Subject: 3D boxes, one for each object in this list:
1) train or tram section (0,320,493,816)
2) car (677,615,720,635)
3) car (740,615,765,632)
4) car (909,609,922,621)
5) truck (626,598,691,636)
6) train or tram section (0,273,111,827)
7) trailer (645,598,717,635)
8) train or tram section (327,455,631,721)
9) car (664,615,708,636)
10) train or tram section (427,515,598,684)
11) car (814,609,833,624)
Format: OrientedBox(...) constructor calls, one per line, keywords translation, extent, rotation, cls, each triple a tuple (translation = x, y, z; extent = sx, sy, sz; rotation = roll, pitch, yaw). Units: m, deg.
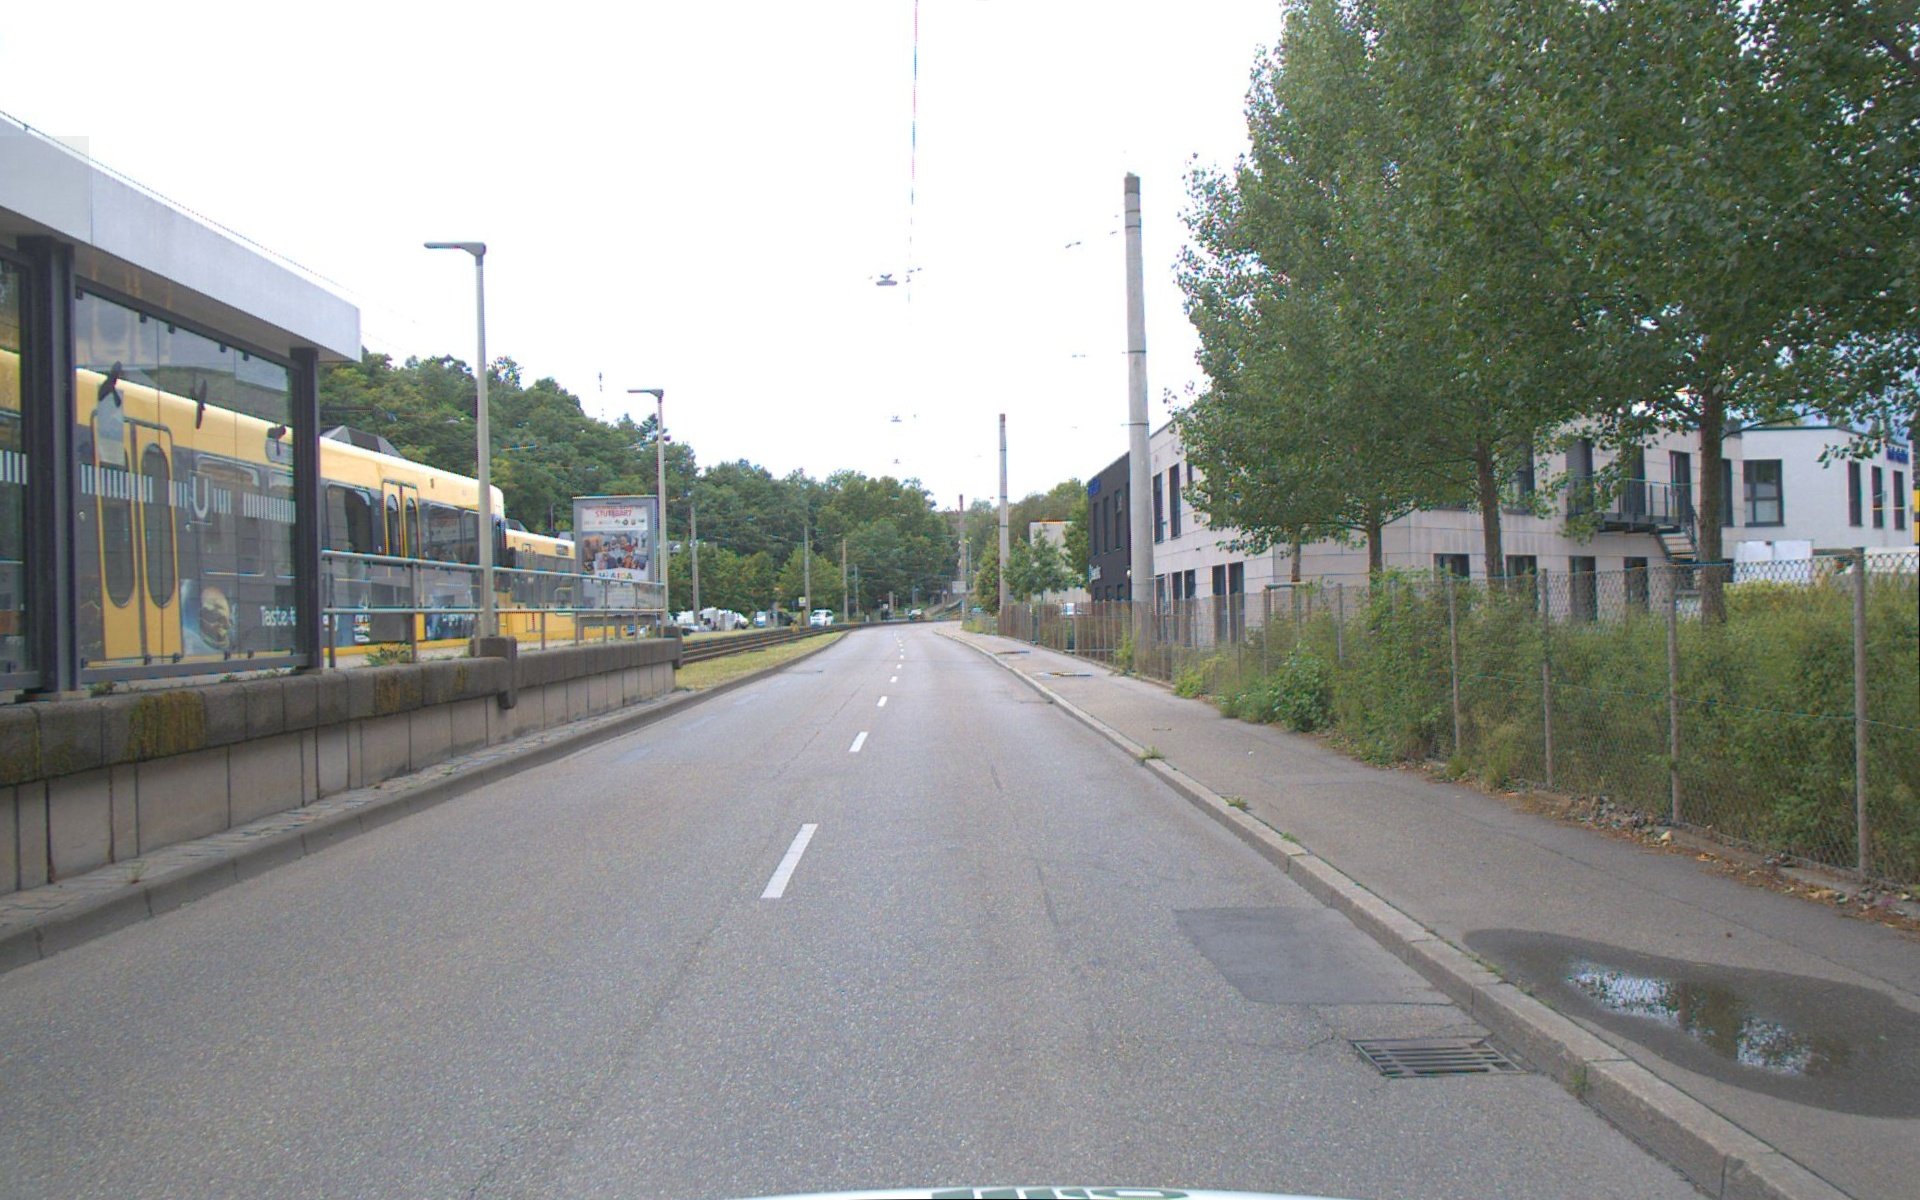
OrientedBox(translation=(-8.449, -0.282, 19.457), extent=(2.685, 4.035, 11.909), rotation=(-2, 0, -1), cls="train or tram section")
OrientedBox(translation=(-26.576, 2.528, 168.064), extent=(3.903, 1.736, 1.834), rotation=(-2, -4, 4), cls="car")
OrientedBox(translation=(-24.280, 2.769, 193.757), extent=(1.789, 1.736, 4.145), rotation=(-2, -4, 9), cls="car")
OrientedBox(translation=(-6.560, 2.196, 244.027), extent=(1.953, 1.668, 3.999), rotation=(-2, 0, -2), cls="car")
OrientedBox(translation=(-21.943, 1.227, 120.611), extent=(2.822, 2.634, 6.915), rotation=(-2, 0, 6), cls="truck")
OrientedBox(translation=(-8.220, -0.308, 7.554), extent=(2.685, 4.035, 11.909), rotation=(-2, 0, -1), cls="train or tram section")
OrientedBox(translation=(-21.296, 1.209, 127.025), extent=(2.831, 2.628, 10.001), rotation=(-2, 0, 6), cls="trailer")
OrientedBox(translation=(-8.663, -0.233, 31.414), extent=(2.911, 4.136, 10.193), rotation=(-2, 0, -1), cls="train or tram section")
OrientedBox(translation=(-26.607, 2.470, 160.616), extent=(3.903, 1.736, 1.834), rotation=(-2, -4, 4), cls="car")
OrientedBox(translation=(-11.349, 0.037, 42.828), extent=(1.953, 3.862, 9.176), rotation=(-2, -1, -1), cls="train or tram section")
OrientedBox(translation=(-16.163, 1.939, 195.956), extent=(1.953, 1.668, 3.999), rotation=(-2, 0, -2), cls="car")
